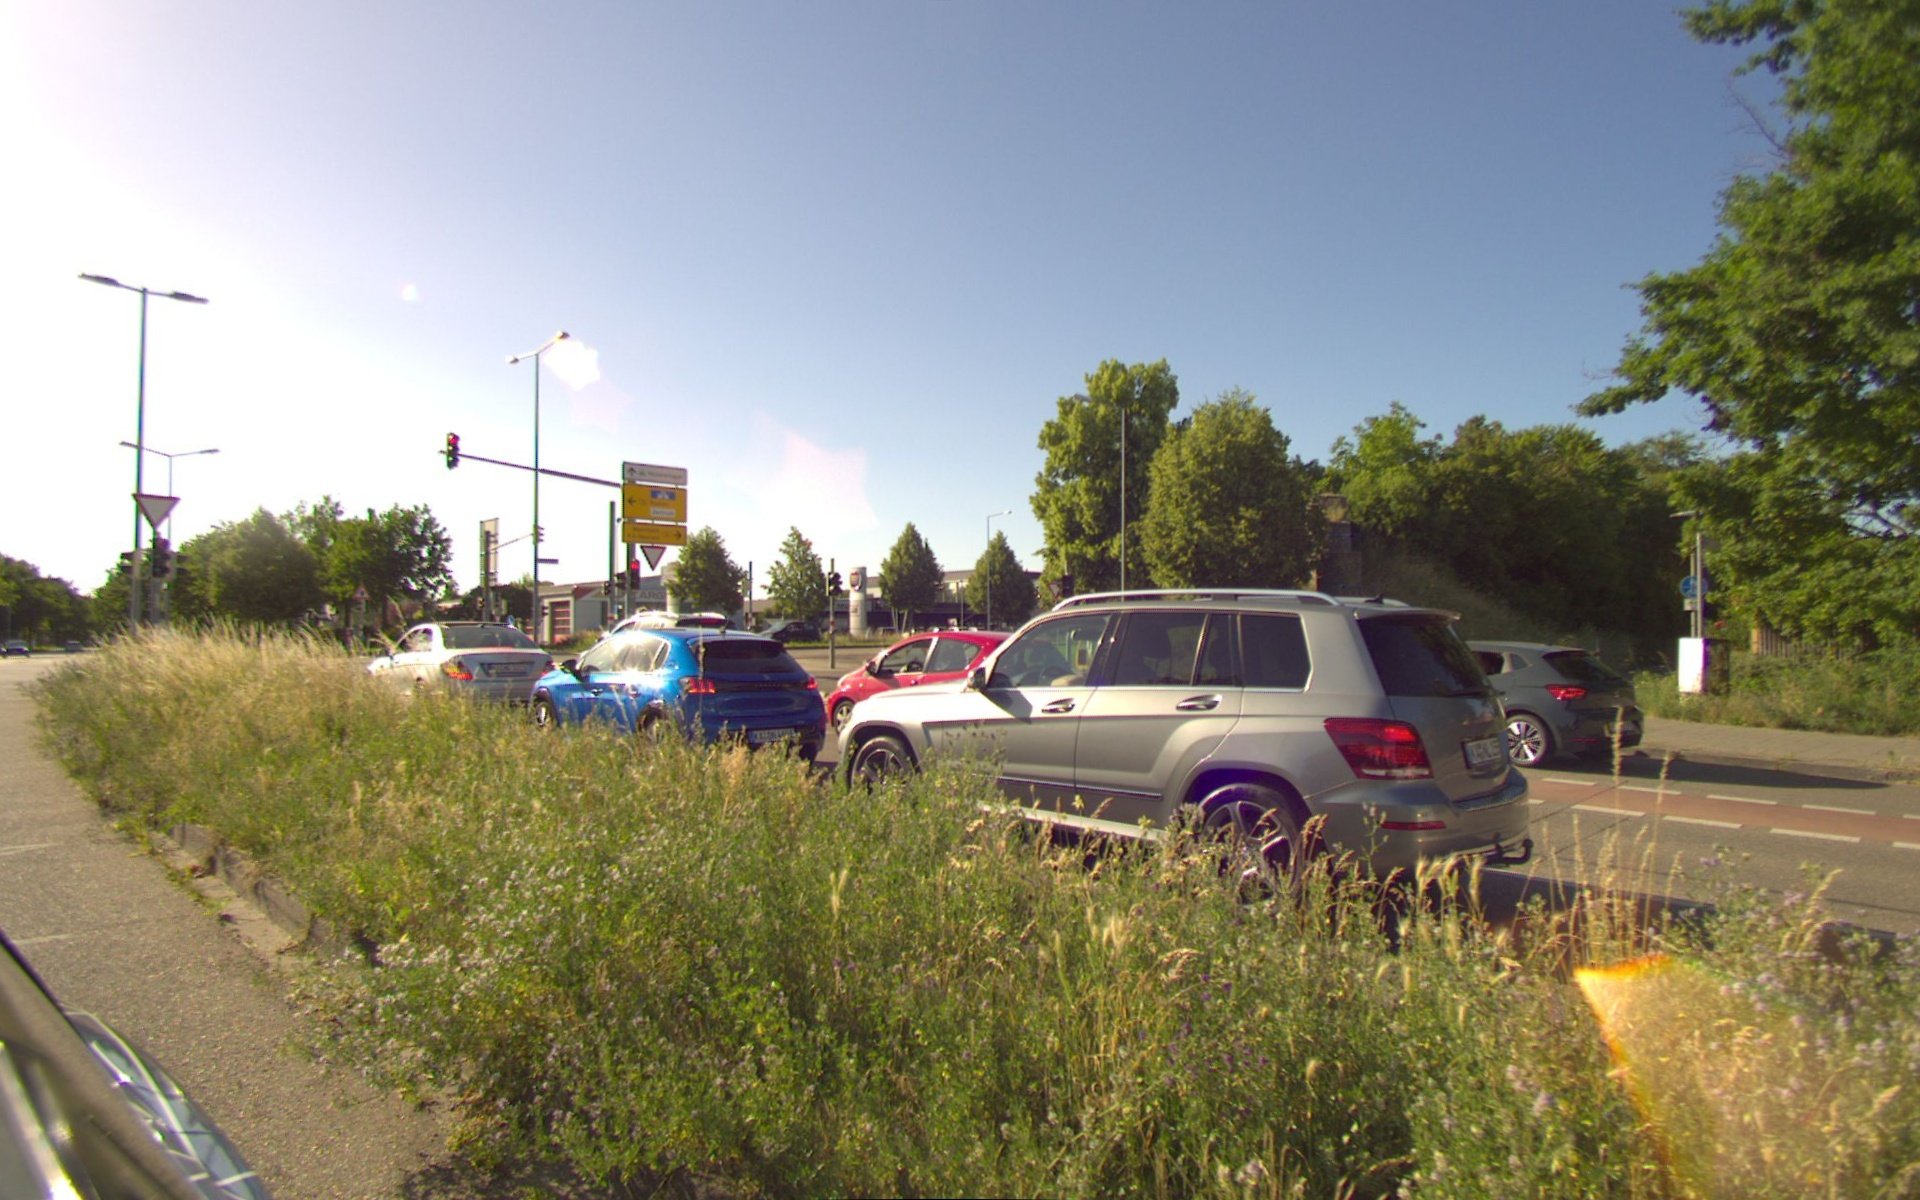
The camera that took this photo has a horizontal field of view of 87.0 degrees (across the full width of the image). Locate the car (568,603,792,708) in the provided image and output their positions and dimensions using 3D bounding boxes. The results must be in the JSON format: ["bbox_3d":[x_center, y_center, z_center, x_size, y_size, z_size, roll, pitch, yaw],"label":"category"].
[{"bbox_3d":[-5.146,0.951,18.240,1.970,1.656,4.534,2,-3,-44],"label":"car"}]

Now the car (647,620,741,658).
[{"bbox_3d":[-12.663,1.874,48.309,1.892,1.657,3.983,-5,-5,42],"label":"car"}]

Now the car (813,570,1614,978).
[{"bbox_3d":[1.226,0.777,6.379,1.970,1.628,4.533,2,-3,-44],"label":"car"}]

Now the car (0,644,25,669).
[{"bbox_3d":[-81.323,4.838,86.575,4.001,2.029,1.706,-1,-3,44],"label":"car"}]

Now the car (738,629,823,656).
[{"bbox_3d":[-9.228,2.176,52.214,1.892,1.284,3.983,-5,-5,42],"label":"car"}]

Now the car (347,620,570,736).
[{"bbox_3d":[-7.805,1.108,15.529,1.772,1.517,4.534,2,-3,-44],"label":"car"}]

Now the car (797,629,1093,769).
[{"bbox_3d":[-0.300,1.120,12.694,1.626,1.494,3.716,2,-3,-44],"label":"car"}]

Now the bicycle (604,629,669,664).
[{"bbox_3d":[-8.284,1.179,25.874,0.740,0.854,1.991,2,-3,-45],"label":"bicycle"}]

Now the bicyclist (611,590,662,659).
[{"bbox_3d":[-8.262,0.634,25.857,0.736,1.715,1.242,2,-3,-45],"label":"bicyclist"}]

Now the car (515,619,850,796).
[{"bbox_3d":[-3.027,0.981,10.580,1.726,1.494,3.891,2,-3,-44],"label":"car"}]

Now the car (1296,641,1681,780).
[{"bbox_3d":[6.514,1.278,12.891,1.687,1.442,4.009,3,-3,-36],"label":"car"}]

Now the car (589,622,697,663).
[{"bbox_3d":[-16.803,2.267,53.883,2.047,2.029,5.202,-5,-5,41],"label":"car"}]
